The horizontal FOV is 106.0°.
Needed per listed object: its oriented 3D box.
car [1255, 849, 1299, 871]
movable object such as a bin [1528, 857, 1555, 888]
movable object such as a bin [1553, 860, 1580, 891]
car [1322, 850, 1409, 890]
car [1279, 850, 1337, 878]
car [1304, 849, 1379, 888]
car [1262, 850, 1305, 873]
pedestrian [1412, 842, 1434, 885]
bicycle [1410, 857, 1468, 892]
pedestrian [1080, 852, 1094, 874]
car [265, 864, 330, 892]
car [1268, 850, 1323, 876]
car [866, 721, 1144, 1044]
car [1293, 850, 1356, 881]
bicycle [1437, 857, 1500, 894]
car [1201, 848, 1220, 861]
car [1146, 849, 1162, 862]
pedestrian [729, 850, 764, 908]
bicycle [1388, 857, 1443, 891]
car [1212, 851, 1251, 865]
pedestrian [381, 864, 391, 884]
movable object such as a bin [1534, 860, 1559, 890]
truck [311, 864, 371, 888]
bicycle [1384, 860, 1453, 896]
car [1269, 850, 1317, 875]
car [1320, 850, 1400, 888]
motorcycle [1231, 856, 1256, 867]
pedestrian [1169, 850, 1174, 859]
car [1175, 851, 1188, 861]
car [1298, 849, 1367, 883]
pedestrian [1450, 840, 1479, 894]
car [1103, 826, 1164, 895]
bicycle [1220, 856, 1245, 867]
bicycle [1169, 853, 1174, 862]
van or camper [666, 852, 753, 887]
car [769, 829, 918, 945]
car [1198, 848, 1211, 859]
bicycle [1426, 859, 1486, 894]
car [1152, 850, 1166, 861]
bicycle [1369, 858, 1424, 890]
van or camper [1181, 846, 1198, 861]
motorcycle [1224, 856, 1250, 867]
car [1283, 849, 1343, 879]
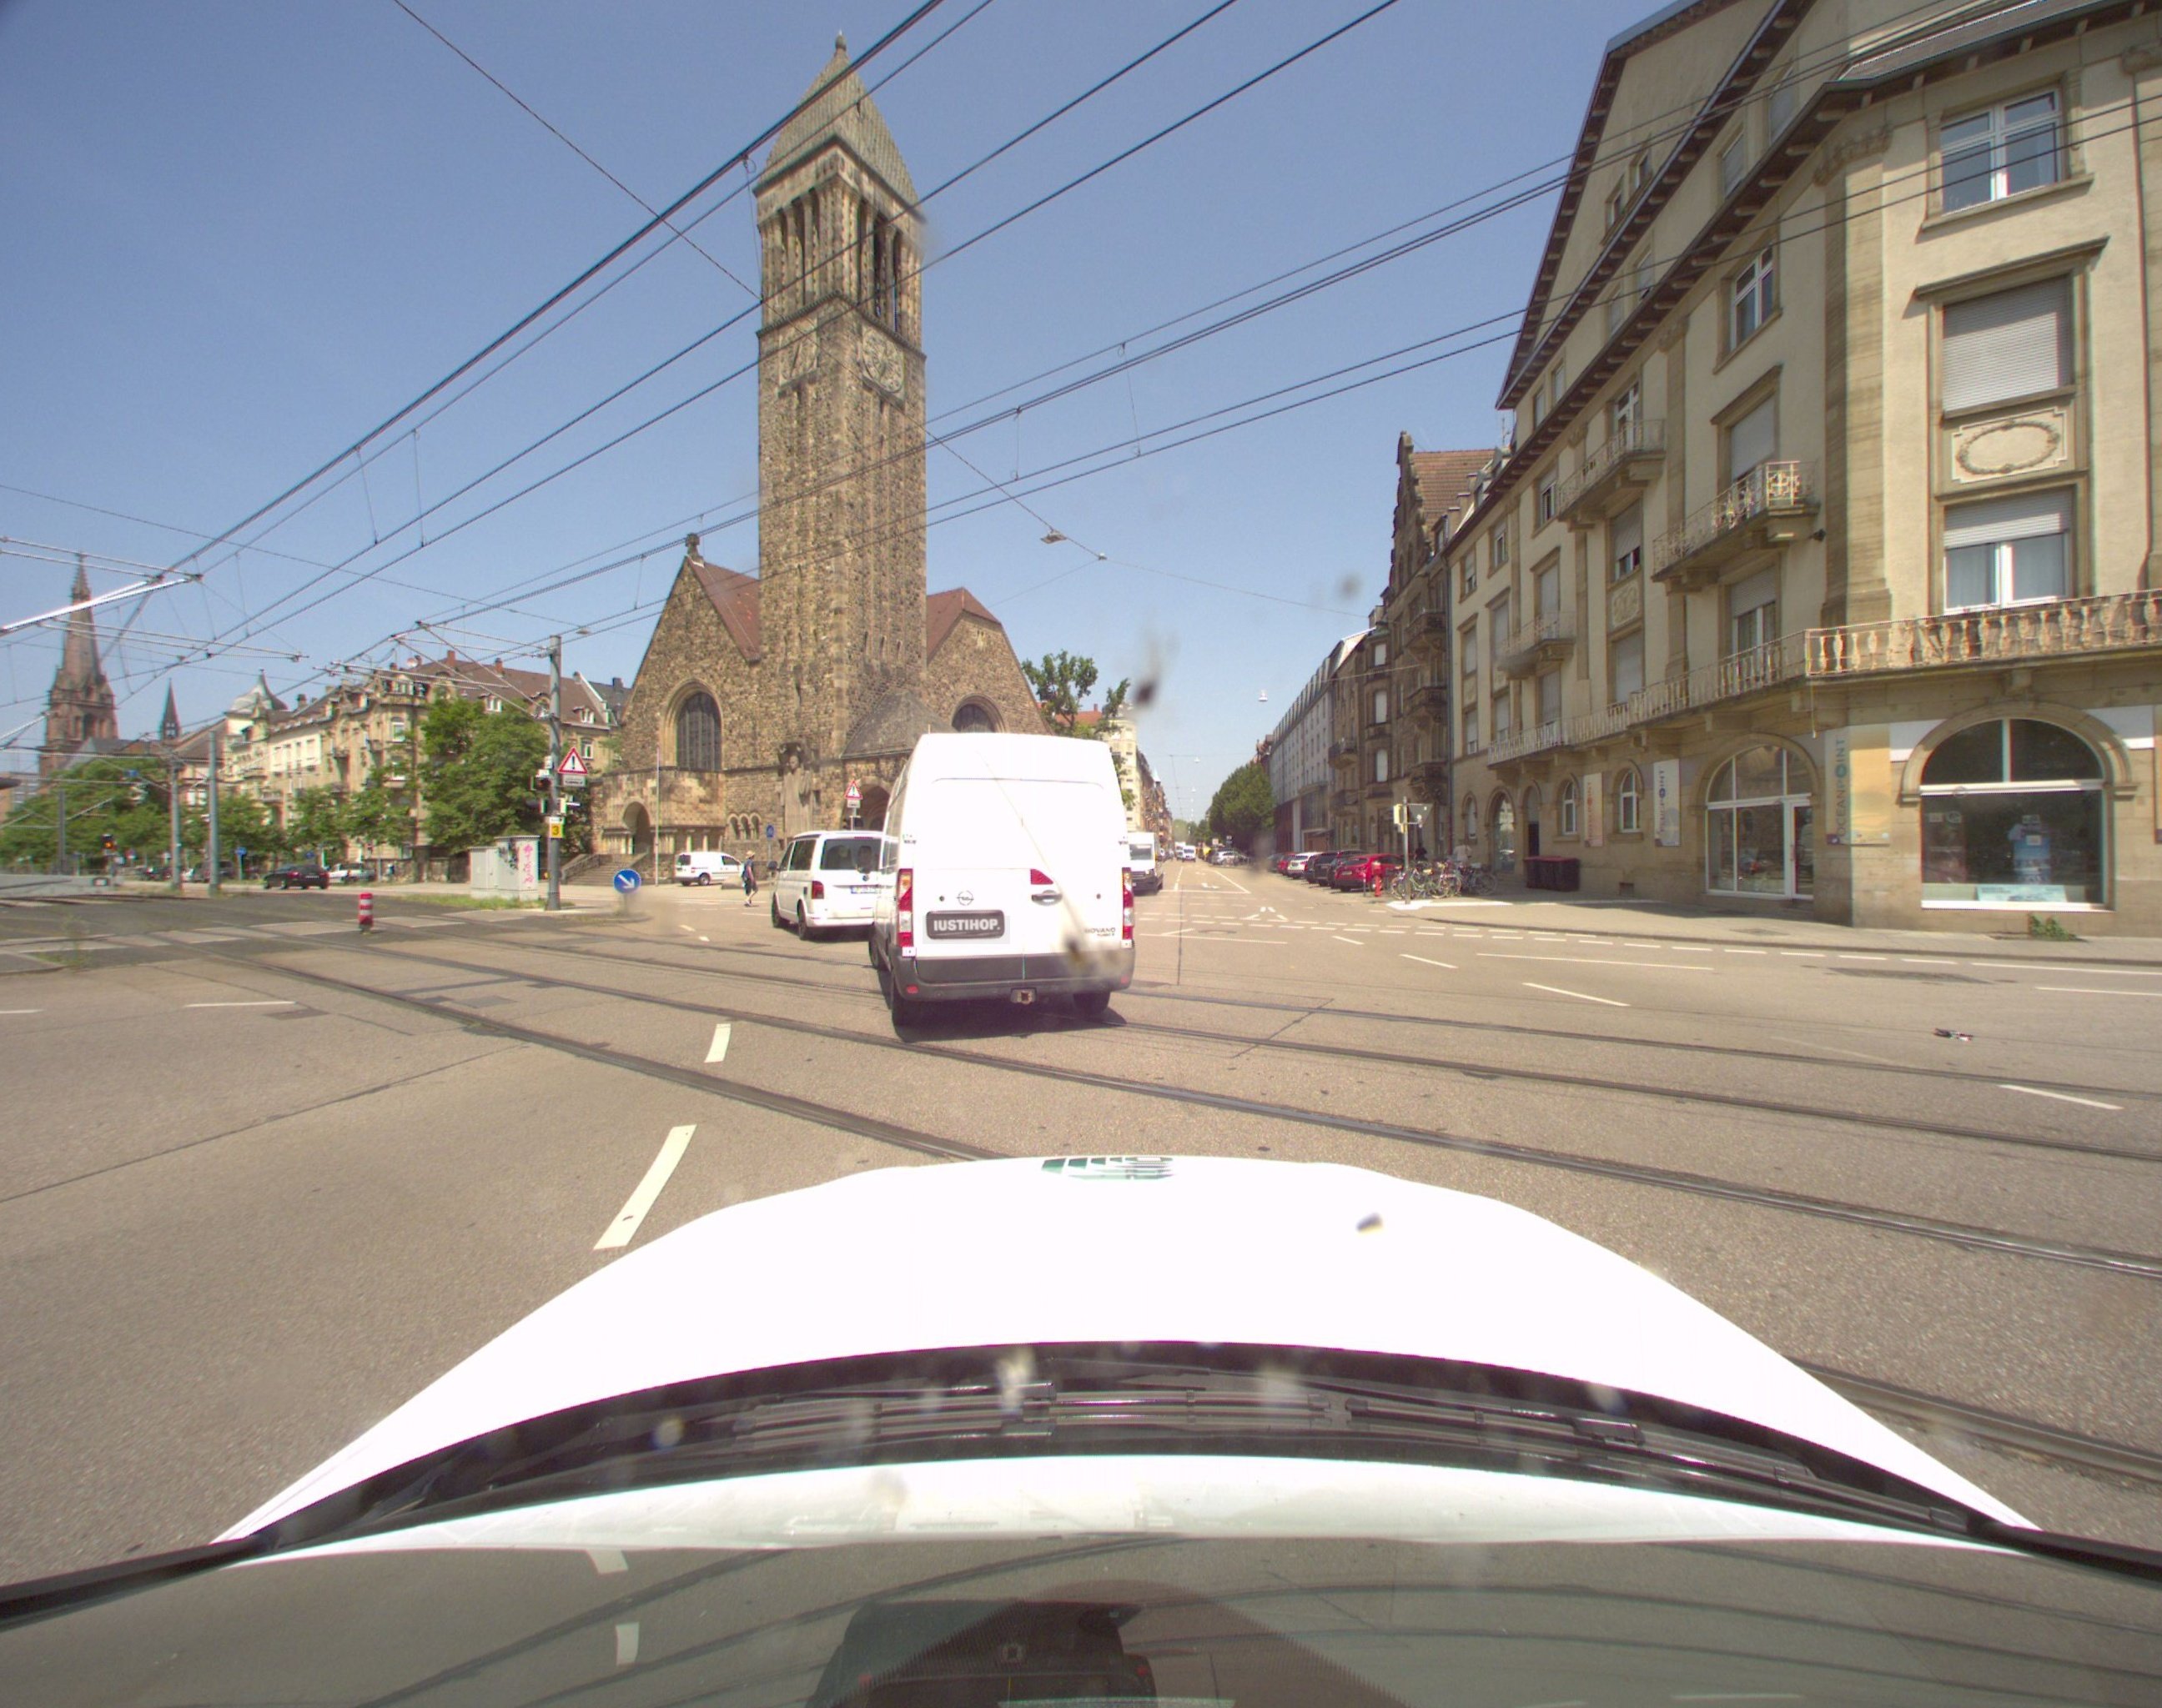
[{"bbox_3d":[15.290,0.476,63.508,3.243,1.575,1.598,-2,-2,-39],"label":"car"},{"bbox_3d":[15.656,0.629,27.701,0.663,1.064,0.593,-1,-1,15],"label":"movable object such as a bin"},{"bbox_3d":[15.412,0.677,25.870,0.577,0.995,0.593,-1,-1,15],"label":"movable object such as a bin"},{"bbox_3d":[11.538,0.645,33.022,3.238,1.479,1.600,-2,-2,-33],"label":"car"},{"bbox_3d":[14.363,0.619,51.488,3.235,1.575,1.602,-2,-1,-28],"label":"car"},{"bbox_3d":[12.428,0.693,38.828,3.238,1.665,1.600,-2,-2,-33],"label":"car"},{"bbox_3d":[15.156,0.572,60.875,3.245,1.575,1.478,-2,-2,-43],"label":"car"},{"bbox_3d":[16.358,0.446,39.000,0.857,2.014,1.106,-1,-1,17],"label":"pedestrian"},{"bbox_3d":[12.490,0.719,28.472,1.784,1.151,0.568,-2,-1,21],"label":"bicycle"},{"bbox_3d":[0.442,0.659,58.645,0.712,1.559,0.796,-1,-1,25],"label":"pedestrian"},{"bbox_3d":[-44.428,1.324,46.158,3.710,1.539,1.766,-1,-1,31],"label":"car"},{"bbox_3d":[14.229,0.606,54.047,3.235,1.575,1.602,-2,-1,-28],"label":"car"},{"bbox_3d":[-1.194,0.235,8.932,2.122,2.459,5.026,0,-1,-16],"label":"car"},{"bbox_3d":[13.723,0.623,45.797,3.238,1.575,1.600,-2,-2,-33],"label":"car"},{"bbox_3d":[12.607,0.694,26.573,1.784,1.151,0.568,-2,-1,21],"label":"bicycle"},{"bbox_3d":[17.402,0.085,109.782,1.947,1.750,4.000,-1,0,1],"label":"car"},{"bbox_3d":[9.782,0.152,109.338,1.947,1.750,4.000,-1,0,1],"label":"car"},{"bbox_3d":[-10.720,0.784,26.109,0.823,1.822,0.749,-1,-1,39],"label":"pedestrian"},{"bbox_3d":[12.094,0.730,29.480,1.784,1.151,0.568,-2,-1,21],"label":"bicycle"},{"bbox_3d":[17.163,0.450,92.877,3.996,1.549,1.740,0,-1,-17],"label":"car"},{"bbox_3d":[-48.191,1.376,56.472,0.403,1.351,0.398,-1,0,30],"label":"pedestrian"},{"bbox_3d":[15.419,0.696,26.962,0.577,0.995,0.593,-1,-1,15],"label":"movable object such as a bin"},{"bbox_3d":[-50.936,1.507,56.020,4.408,1.526,1.806,-1,0,30],"label":"truck"},{"bbox_3d":[10.979,0.782,26.541,2.036,1.151,0.568,-1,0,21],"label":"bicycle"},{"bbox_3d":[15.136,0.609,58.056,3.241,1.575,1.598,-2,-2,-37],"label":"car"},{"bbox_3d":[12.323,0.656,35.896,3.238,1.479,1.600,-2,-2,-33],"label":"car"},{"bbox_3d":[17.074,0.761,85.792,2.575,1.174,0.684,-1,-1,9],"label":"motorcycle"},{"bbox_3d":[13.935,0.088,125.557,0.727,1.420,0.799,-1,0,5],"label":"pedestrian"},{"bbox_3d":[17.623,0.385,142.716,1.984,1.768,4.005,0,-1,5],"label":"car"},{"bbox_3d":[13.058,0.629,42.256,3.238,1.575,1.600,-2,-2,-33],"label":"car"},{"bbox_3d":[15.143,0.510,32.176,0.857,2.114,1.106,-1,-1,17],"label":"pedestrian"},{"bbox_3d":[2.363,0.286,34.709,2.059,2.637,6.648,0,-1,8],"label":"car"},{"bbox_3d":[16.590,0.791,89.109,2.595,1.174,0.679,0,-1,-16],"label":"bicycle"},{"bbox_3d":[13.935,0.548,125.438,0.669,1.359,2.072,-1,0,5],"label":"bicycle"},{"bbox_3d":[-20.607,0.840,45.334,1.974,1.807,4.024,-1,-1,29],"label":"van or camper"},{"bbox_3d":[-4.788,0.545,15.983,1.928,1.944,4.224,-1,0,-29],"label":"car"},{"bbox_3d":[22.978,-0.074,151.147,1.893,2.014,4.015,-2,-1,13],"label":"car"},{"bbox_3d":[12.640,0.766,27.508,1.784,1.151,0.568,-2,-1,21],"label":"bicycle"},{"bbox_3d":[13.171,0.266,137.592,1.947,1.750,4.000,-1,0,1],"label":"car"},{"bbox_3d":[11.781,0.740,30.457,1.792,1.151,0.565,-2,-1,2],"label":"bicycle"},{"bbox_3d":[16.464,-0.052,123.273,2.028,2.141,4.581,-1,0,1],"label":"van or camper"},{"bbox_3d":[16.262,0.760,84.975,2.693,1.174,0.777,-1,-1,9],"label":"motorcycle"},{"bbox_3d":[13.813,0.595,48.447,3.236,1.575,1.601,-2,-1,-30],"label":"car"}]
